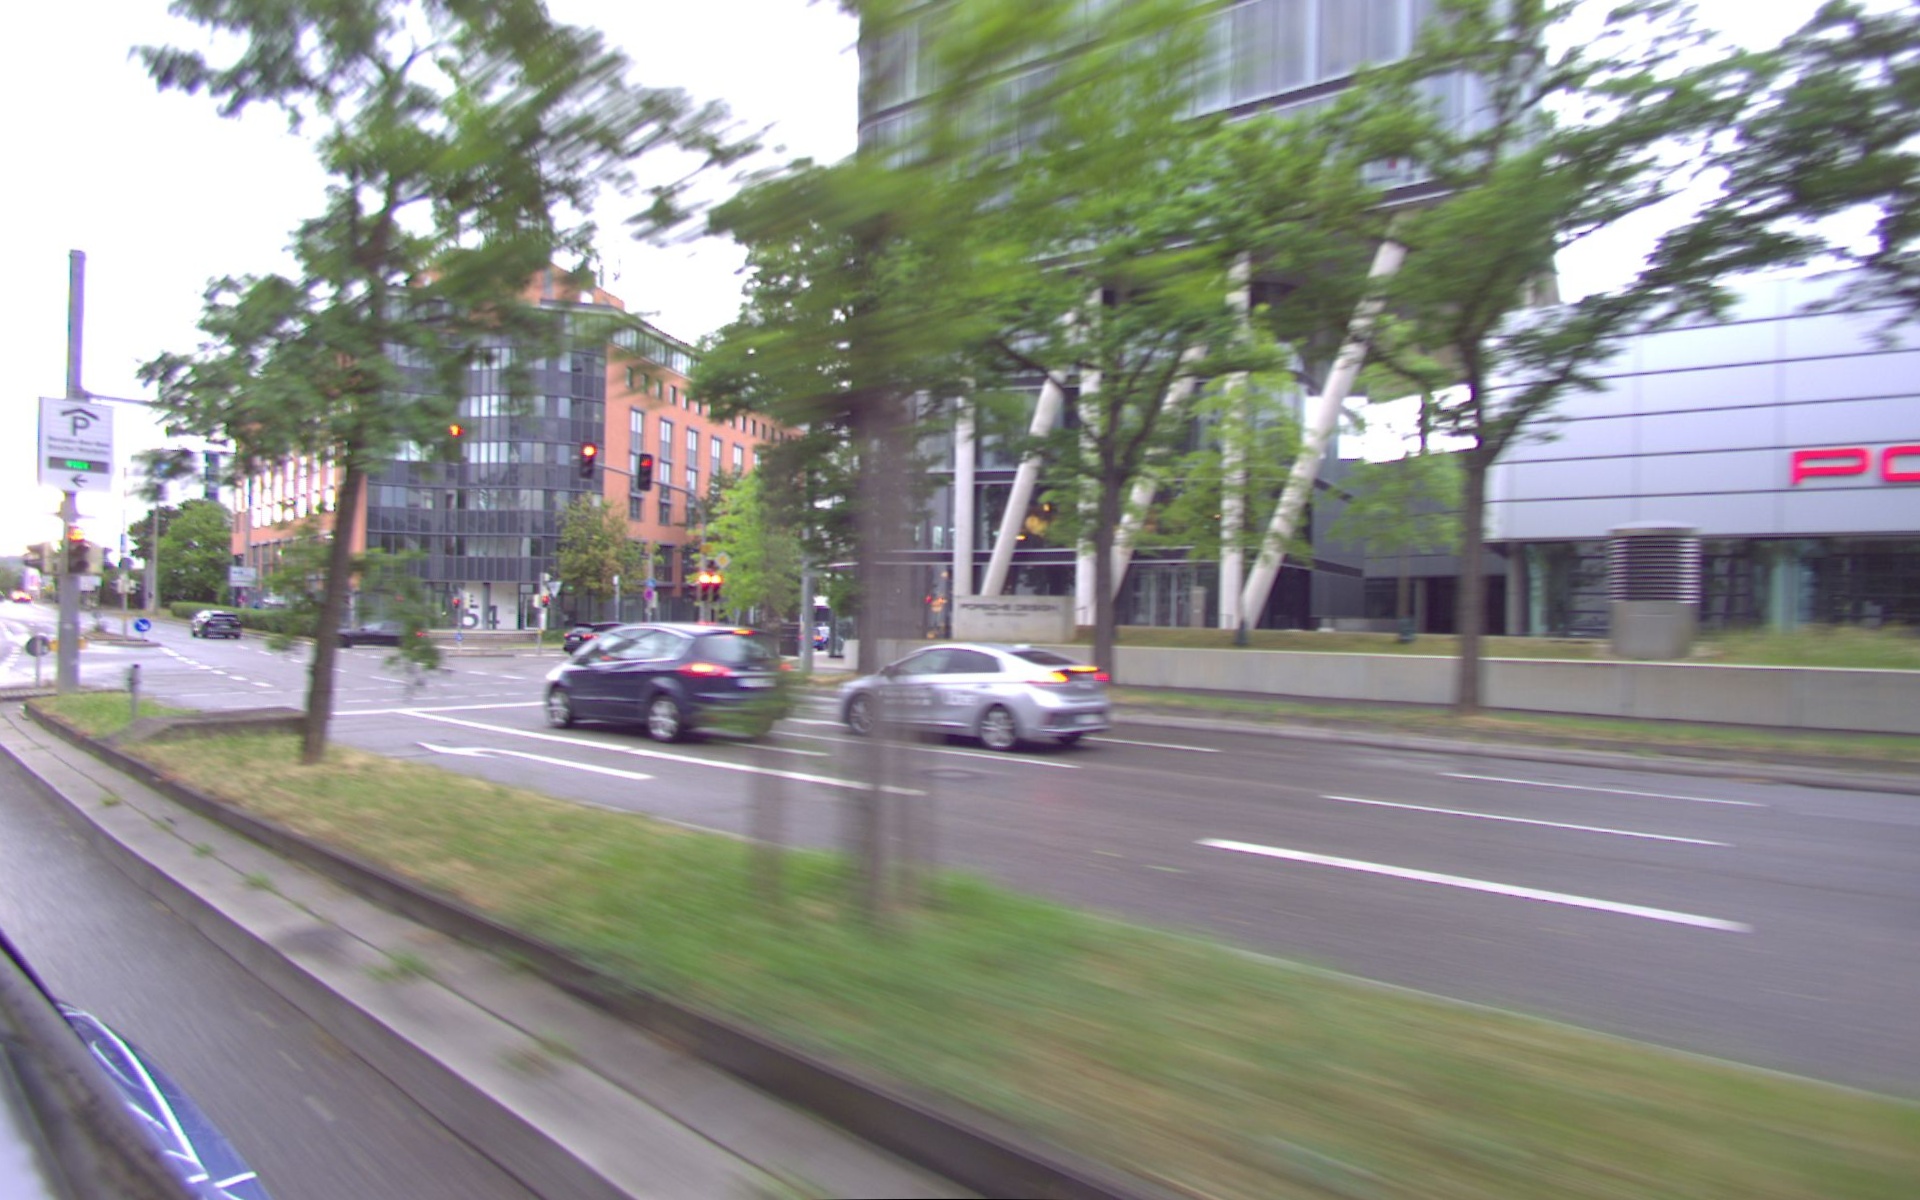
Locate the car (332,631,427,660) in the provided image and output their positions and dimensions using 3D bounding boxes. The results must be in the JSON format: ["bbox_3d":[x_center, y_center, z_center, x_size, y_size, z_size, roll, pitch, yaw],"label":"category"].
[{"bbox_3d":[-29.477,2.309,51.550,3.930,1.373,1.859,3,-2,-23],"label":"car"}]

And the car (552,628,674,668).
[{"bbox_3d":[-15.962,2.217,46.912,1.991,1.679,5.371,0,-2,29],"label":"car"}]

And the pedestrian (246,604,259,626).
[{"bbox_3d":[-60.871,1.312,87.062,0.886,1.855,0.737,0,0,45],"label":"pedestrian"}]

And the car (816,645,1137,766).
[{"bbox_3d":[0.109,1.423,14.835,4.654,1.422,1.795,-1,-4,42],"label":"car"}]

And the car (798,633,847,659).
[{"bbox_3d":[-9.299,3.091,68.866,1.762,1.608,4.174,1,-1,16],"label":"car"}]

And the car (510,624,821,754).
[{"bbox_3d":[-4.545,1.223,15.160,5.117,1.628,1.973,-2,-4,40],"label":"car"}]

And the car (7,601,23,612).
[{"bbox_3d":[-157.429,1.064,168.589,4.001,1.580,1.743,0,-3,44],"label":"car"}]

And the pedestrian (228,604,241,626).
[{"bbox_3d":[-62.113,1.291,86.620,0.886,1.855,0.737,0,0,45],"label":"pedestrian"}]

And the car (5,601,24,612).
[{"bbox_3d":[-146.933,1.078,157.309,4.000,1.580,1.743,0,-3,43],"label":"car"}]

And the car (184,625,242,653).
[{"bbox_3d":[-43.569,2.241,58.963,4.372,1.522,1.831,-1,-4,42],"label":"car"}]
